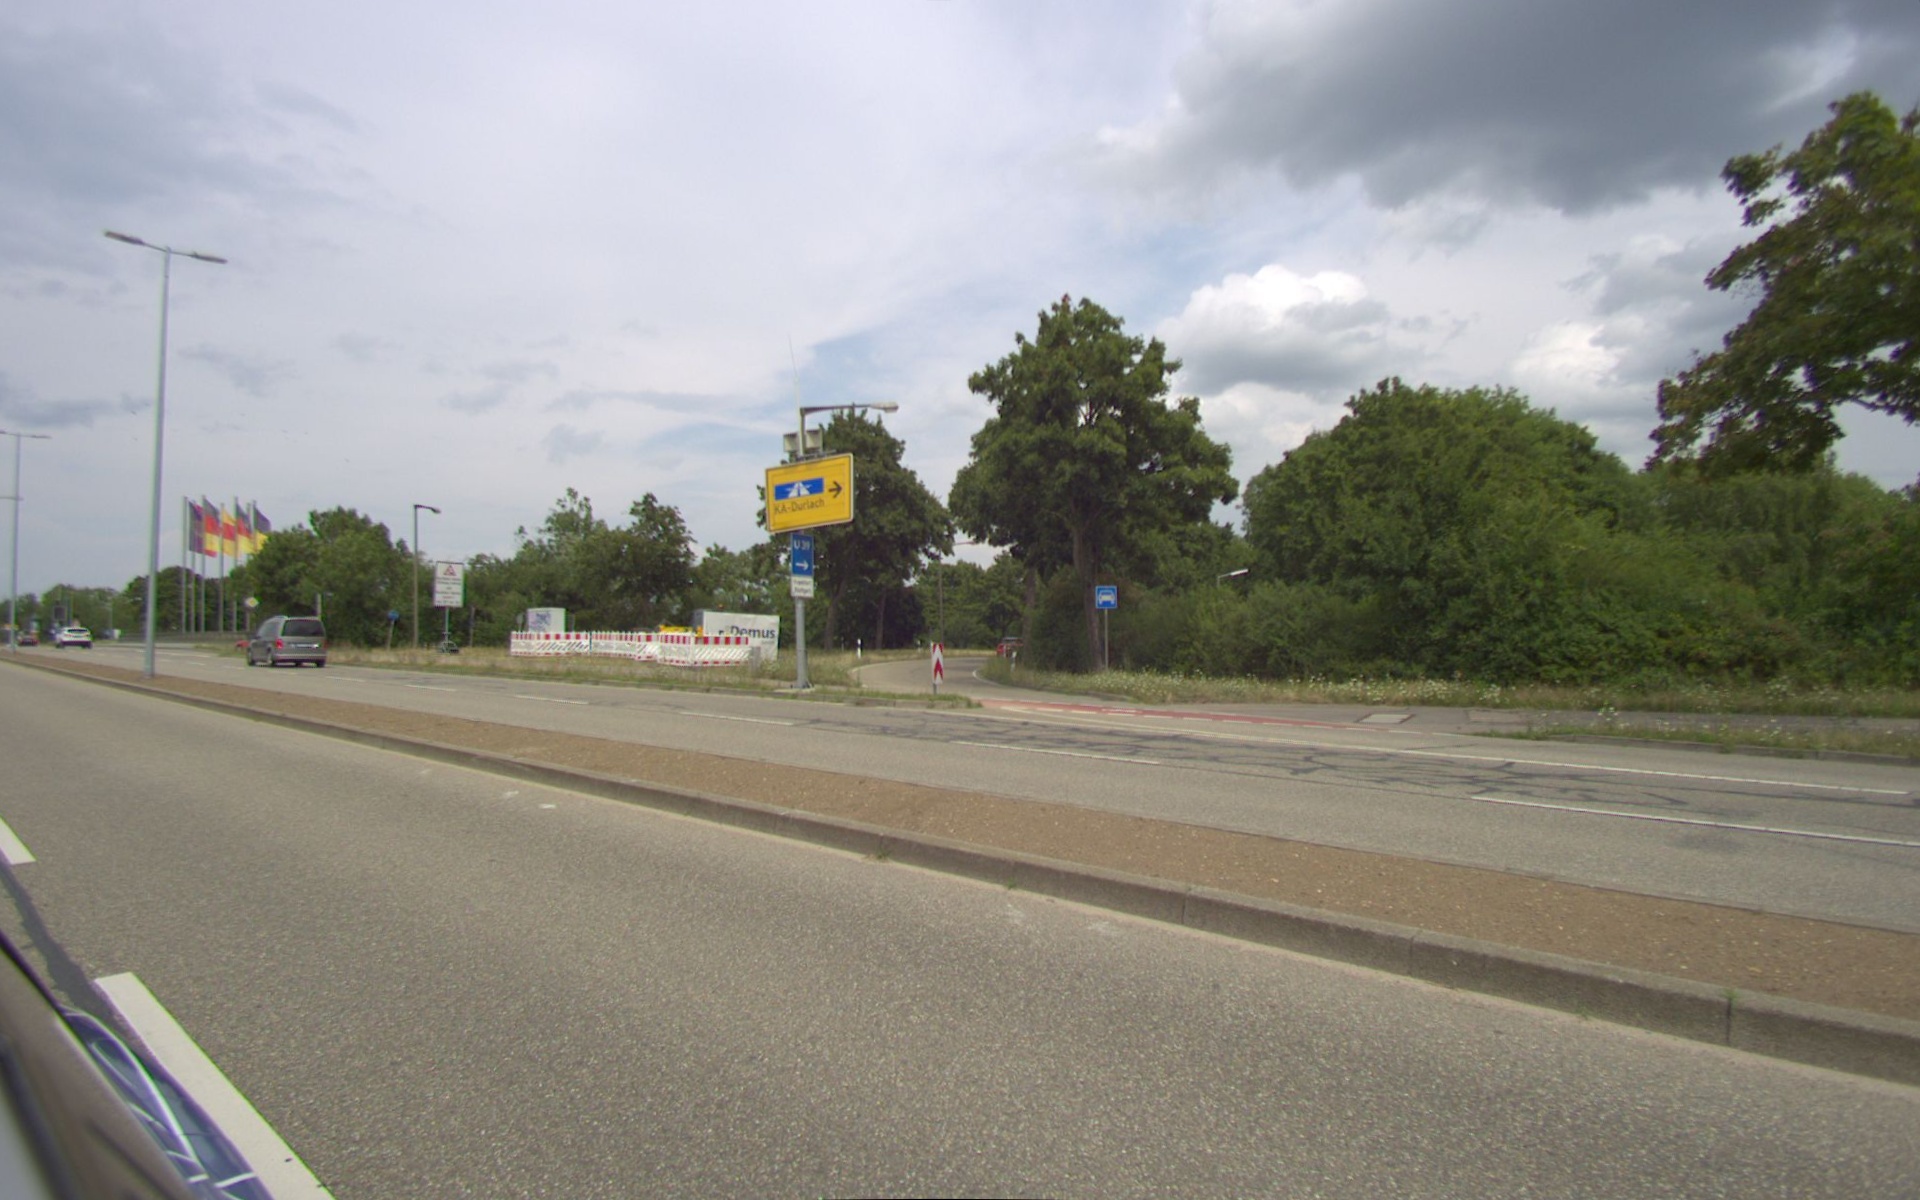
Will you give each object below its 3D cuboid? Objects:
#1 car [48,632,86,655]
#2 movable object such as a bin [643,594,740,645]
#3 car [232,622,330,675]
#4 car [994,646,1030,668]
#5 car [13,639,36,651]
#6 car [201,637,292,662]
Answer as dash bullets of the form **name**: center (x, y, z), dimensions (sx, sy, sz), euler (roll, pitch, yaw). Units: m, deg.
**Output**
- **car**: center (-66.672, 3.261, 75.536), dimensions (4.382, 1.641, 1.676), euler (-3, -3, 42)
- **movable object such as a bin**: center (-13.255, 0.983, 50.216), dimensions (1.993, 2.415, 4.545), euler (-3, -3, 31)
- **car**: center (-25.130, 1.794, 37.397), dimensions (4.536, 1.823, 1.883), euler (-3, -3, 41)
- **car**: center (3.507, 3.785, 67.521), dimensions (1.700, 1.335, 3.466), euler (-2, -2, 15)
- **car**: center (-117.699, 5.663, 127.291), dimensions (1.970, 1.384, 4.580), euler (3, -4, -44)
- **car**: center (-42.088, 2.910, 59.748), dimensions (4.239, 1.384, 1.780), euler (-2, -2, 3)
